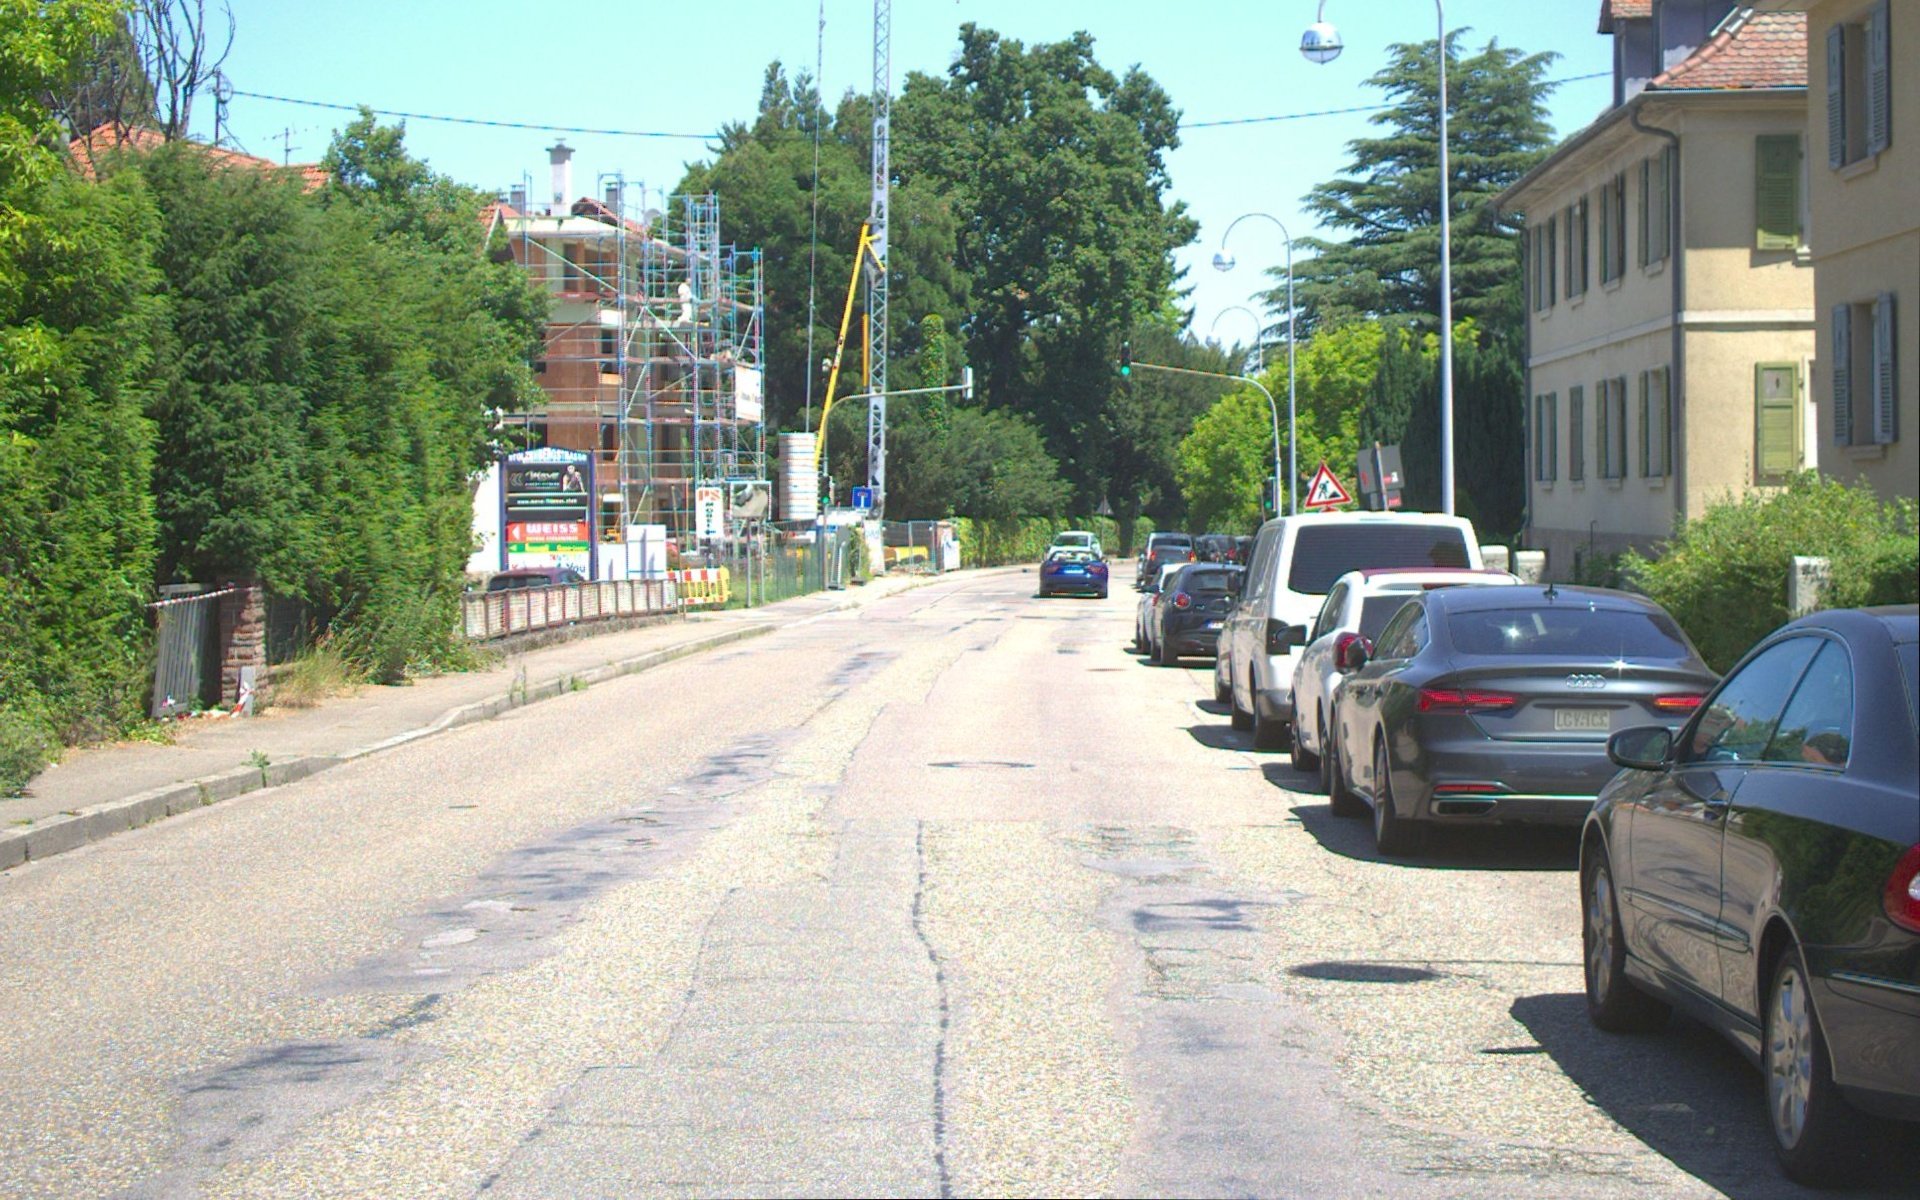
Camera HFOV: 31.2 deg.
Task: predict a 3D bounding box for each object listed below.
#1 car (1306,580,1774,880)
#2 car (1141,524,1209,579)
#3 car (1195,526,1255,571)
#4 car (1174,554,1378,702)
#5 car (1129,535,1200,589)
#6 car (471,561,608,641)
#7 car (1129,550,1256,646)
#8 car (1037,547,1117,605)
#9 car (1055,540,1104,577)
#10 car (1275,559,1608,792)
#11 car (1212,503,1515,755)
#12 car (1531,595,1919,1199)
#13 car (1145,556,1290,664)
[{"bbox_3d":[2.996,0.608,18.696,1.761,1.366,4.607,0,1,0],"label":"car"},{"bbox_3d":[6.806,-1.536,108.412,1.994,1.656,3.999,-1,1,5],"label":"car"},{"bbox_3d":[10.106,-1.948,130.887,1.994,1.656,3.999,-1,1,8],"label":"car"},{"bbox_3d":[3.280,0.250,36.409,1.761,1.446,4.223,0,1,0],"label":"car"},{"bbox_3d":[6.188,-1.139,103.636,1.994,1.568,3.999,-1,1,5],"label":"car"},{"bbox_3d":[-7.645,-0.002,62.797,1.660,1.384,3.534,-1,1,7],"label":"car"},{"bbox_3d":[3.667,-0.057,54.727,1.761,1.446,3.890,0,1,0],"label":"car"},{"bbox_3d":[3.298,-0.676,95.883,1.959,1.463,4.000,0,3,6],"label":"car"},{"bbox_3d":[4.760,-1.651,137.069,1.761,1.446,3.839,0,1,5],"label":"car"},{"bbox_3d":[3.209,0.453,23.548,1.761,1.446,3.649,0,1,0],"label":"car"},{"bbox_3d":[3.308,0.189,29.105,1.993,1.894,4.823,2,1,1],"label":"car"},{"bbox_3d":[2.786,0.709,9.455,1.692,1.414,4.551,0,0,0],"label":"car"},{"bbox_3d":[3.627,0.111,48.956,1.761,1.446,3.839,0,1,0],"label":"car"}]
